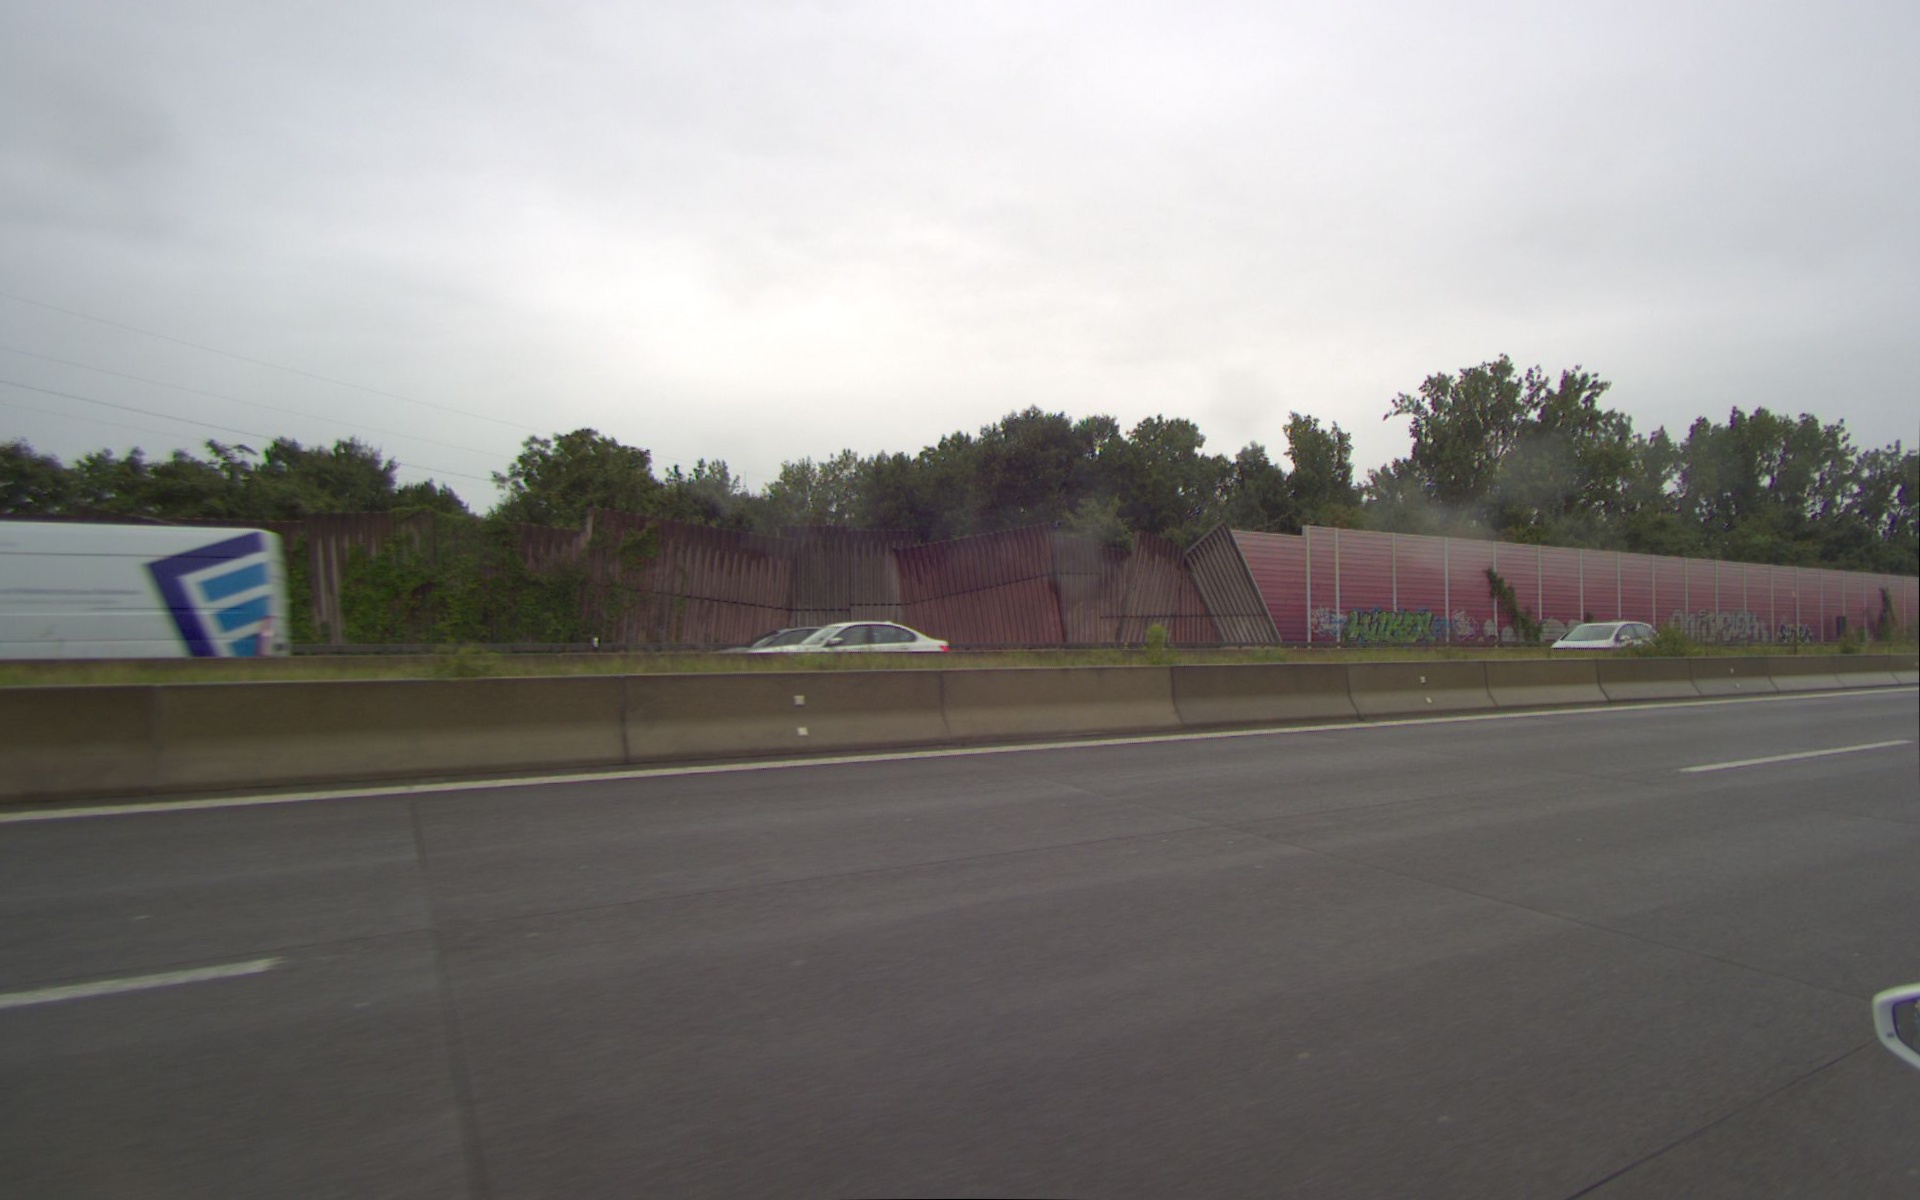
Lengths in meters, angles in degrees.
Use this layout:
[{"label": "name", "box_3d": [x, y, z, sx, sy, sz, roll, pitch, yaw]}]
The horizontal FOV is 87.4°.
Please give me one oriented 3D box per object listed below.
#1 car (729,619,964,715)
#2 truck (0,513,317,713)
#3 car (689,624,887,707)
[{"label": "car", "box_3d": [-2.312, 1.307, 20.733, 4.413, 1.762, 1.984, 1, -1, -30]}, {"label": "truck", "box_3d": [-11.100, 0.149, 12.222, 5.355, 2.235, 2.135, 1, -1, -30]}, {"label": "car", "box_3d": [-4.074, 1.489, 23.846, 4.214, 1.762, 1.984, 1, -1, -30]}]
